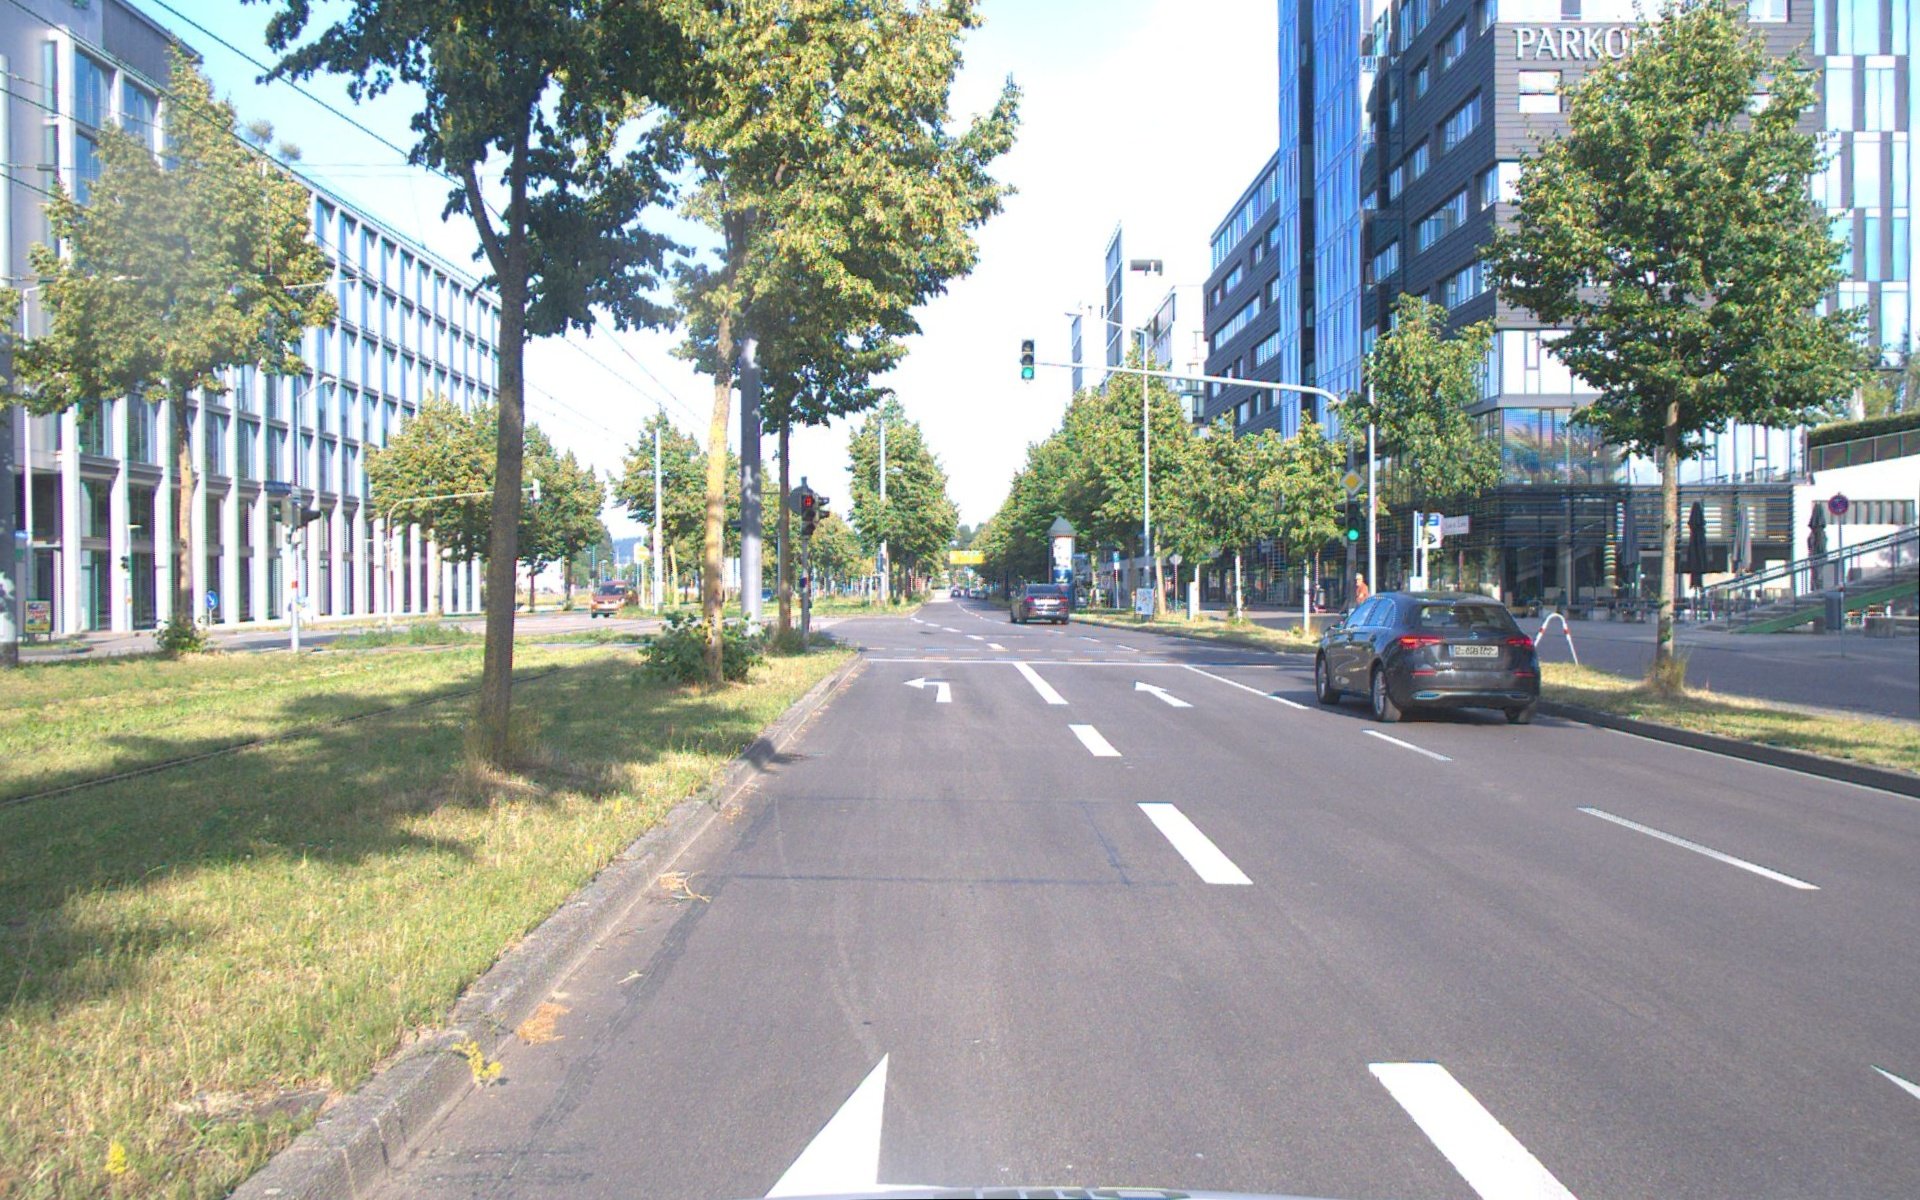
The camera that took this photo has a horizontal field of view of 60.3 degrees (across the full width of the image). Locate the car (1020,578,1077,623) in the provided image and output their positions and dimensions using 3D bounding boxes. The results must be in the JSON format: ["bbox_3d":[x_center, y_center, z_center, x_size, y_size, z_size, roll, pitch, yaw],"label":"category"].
[{"bbox_3d":[3.175,0.019,60.171,1.822,1.551,3.785,1,0,-1],"label":"car"}]

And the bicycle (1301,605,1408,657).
[{"bbox_3d":[8.274,0.645,34.699,2.092,1.030,0.571,1,0,-5],"label":"bicycle"}]

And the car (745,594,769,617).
[{"bbox_3d":[-19.207,0.518,156.427,1.743,2.049,3.999,1,0,-1],"label":"car"}]

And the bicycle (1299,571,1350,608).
[{"bbox_3d":[17.904,-0.528,81.261,2.383,1.776,0.554,1,0,9],"label":"bicycle"}]

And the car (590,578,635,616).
[{"bbox_3d":[-17.215,-0.130,82.025,1.651,1.806,3.879,1,0,-4],"label":"car"}]

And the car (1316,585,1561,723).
[{"bbox_3d":[5.570,0.581,19.761,1.738,1.449,3.960,1,0,0],"label":"car"}]

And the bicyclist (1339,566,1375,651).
[{"bbox_3d":[8.323,0.176,34.664,0.563,1.736,0.540,1,0,-4],"label":"bicyclist"}]
